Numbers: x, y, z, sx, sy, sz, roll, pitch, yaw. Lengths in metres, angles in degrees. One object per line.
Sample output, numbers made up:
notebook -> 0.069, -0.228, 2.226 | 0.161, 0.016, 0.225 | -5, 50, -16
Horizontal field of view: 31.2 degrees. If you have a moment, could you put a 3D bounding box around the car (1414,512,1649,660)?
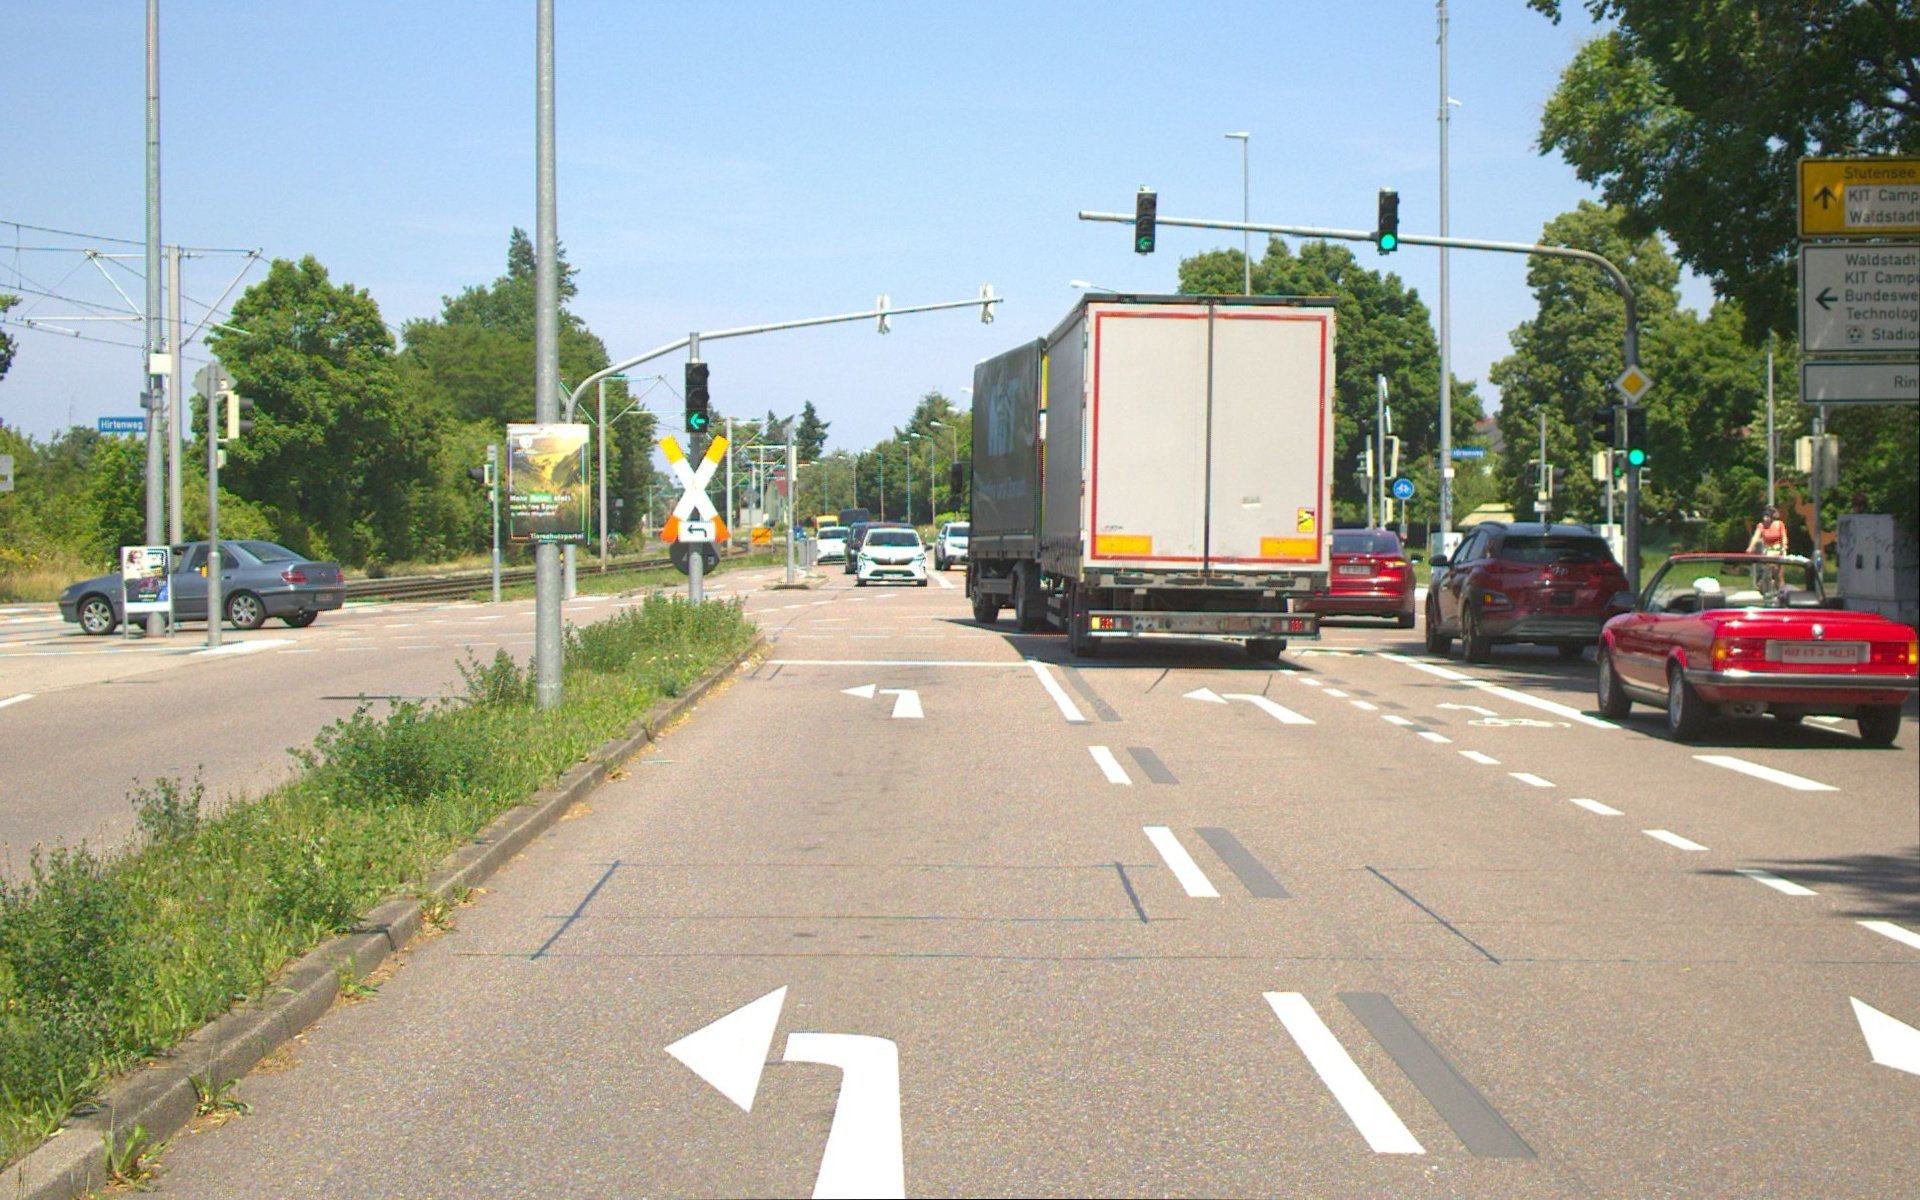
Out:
car -> 6.387, -0.203, 38.841 | 1.858, 1.544, 3.887 | 1, 2, -2

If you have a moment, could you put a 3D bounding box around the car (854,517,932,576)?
car -> -1.685, -1.338, 85.256 | 1.858, 1.368, 4.157 | 1, 2, -2

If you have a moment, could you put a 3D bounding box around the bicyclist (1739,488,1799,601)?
bicyclist -> 12.553, -0.860, 53.354 | 0.802, 1.721, 0.679 | -2, 1, 11

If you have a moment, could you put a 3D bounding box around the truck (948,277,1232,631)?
truck -> 1.614, -1.981, 47.163 | 2.826, 4.329, 8.286 | 2, 2, -4

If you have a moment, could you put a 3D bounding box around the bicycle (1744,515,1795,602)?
bicycle -> 12.568, -0.656, 53.419 | 0.645, 1.300, 1.625 | -2, 1, 11

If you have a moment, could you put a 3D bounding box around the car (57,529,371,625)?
car -> -11.582, -0.384, 53.457 | 4.419, 1.367, 1.897 | 1, 2, 18

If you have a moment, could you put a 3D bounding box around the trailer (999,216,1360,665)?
trailer -> 2.239, -1.706, 38.624 | 2.826, 4.406, 8.751 | 1, 2, -4

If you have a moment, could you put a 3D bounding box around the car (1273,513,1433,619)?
car -> 5.914, -0.546, 52.205 | 1.993, 1.498, 4.503 | 0, 2, 1

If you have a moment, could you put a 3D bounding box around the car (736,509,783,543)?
car -> -8.430, -3.137, 144.661 | 1.858, 1.368, 4.157 | 1, 2, -2

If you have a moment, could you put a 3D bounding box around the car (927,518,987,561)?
car -> -0.114, -2.034, 115.703 | 1.858, 1.368, 4.157 | 1, 2, -2

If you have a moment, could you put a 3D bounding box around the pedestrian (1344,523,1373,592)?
pedestrian -> 11.677, -1.251, 100.661 | 0.742, 2.007, 0.613 | 1, 1, 0

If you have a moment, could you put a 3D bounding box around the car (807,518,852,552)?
car -> -5.445, -2.724, 143.867 | 1.858, 1.368, 4.157 | 1, 2, -2

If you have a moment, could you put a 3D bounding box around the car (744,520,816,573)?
car -> -4.907, -1.481, 94.308 | 1.858, 1.368, 4.157 | 1, 2, -2

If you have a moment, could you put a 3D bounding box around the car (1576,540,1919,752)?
car -> 5.936, 0.285, 25.952 | 1.654, 1.392, 4.268 | 1, 2, -2
